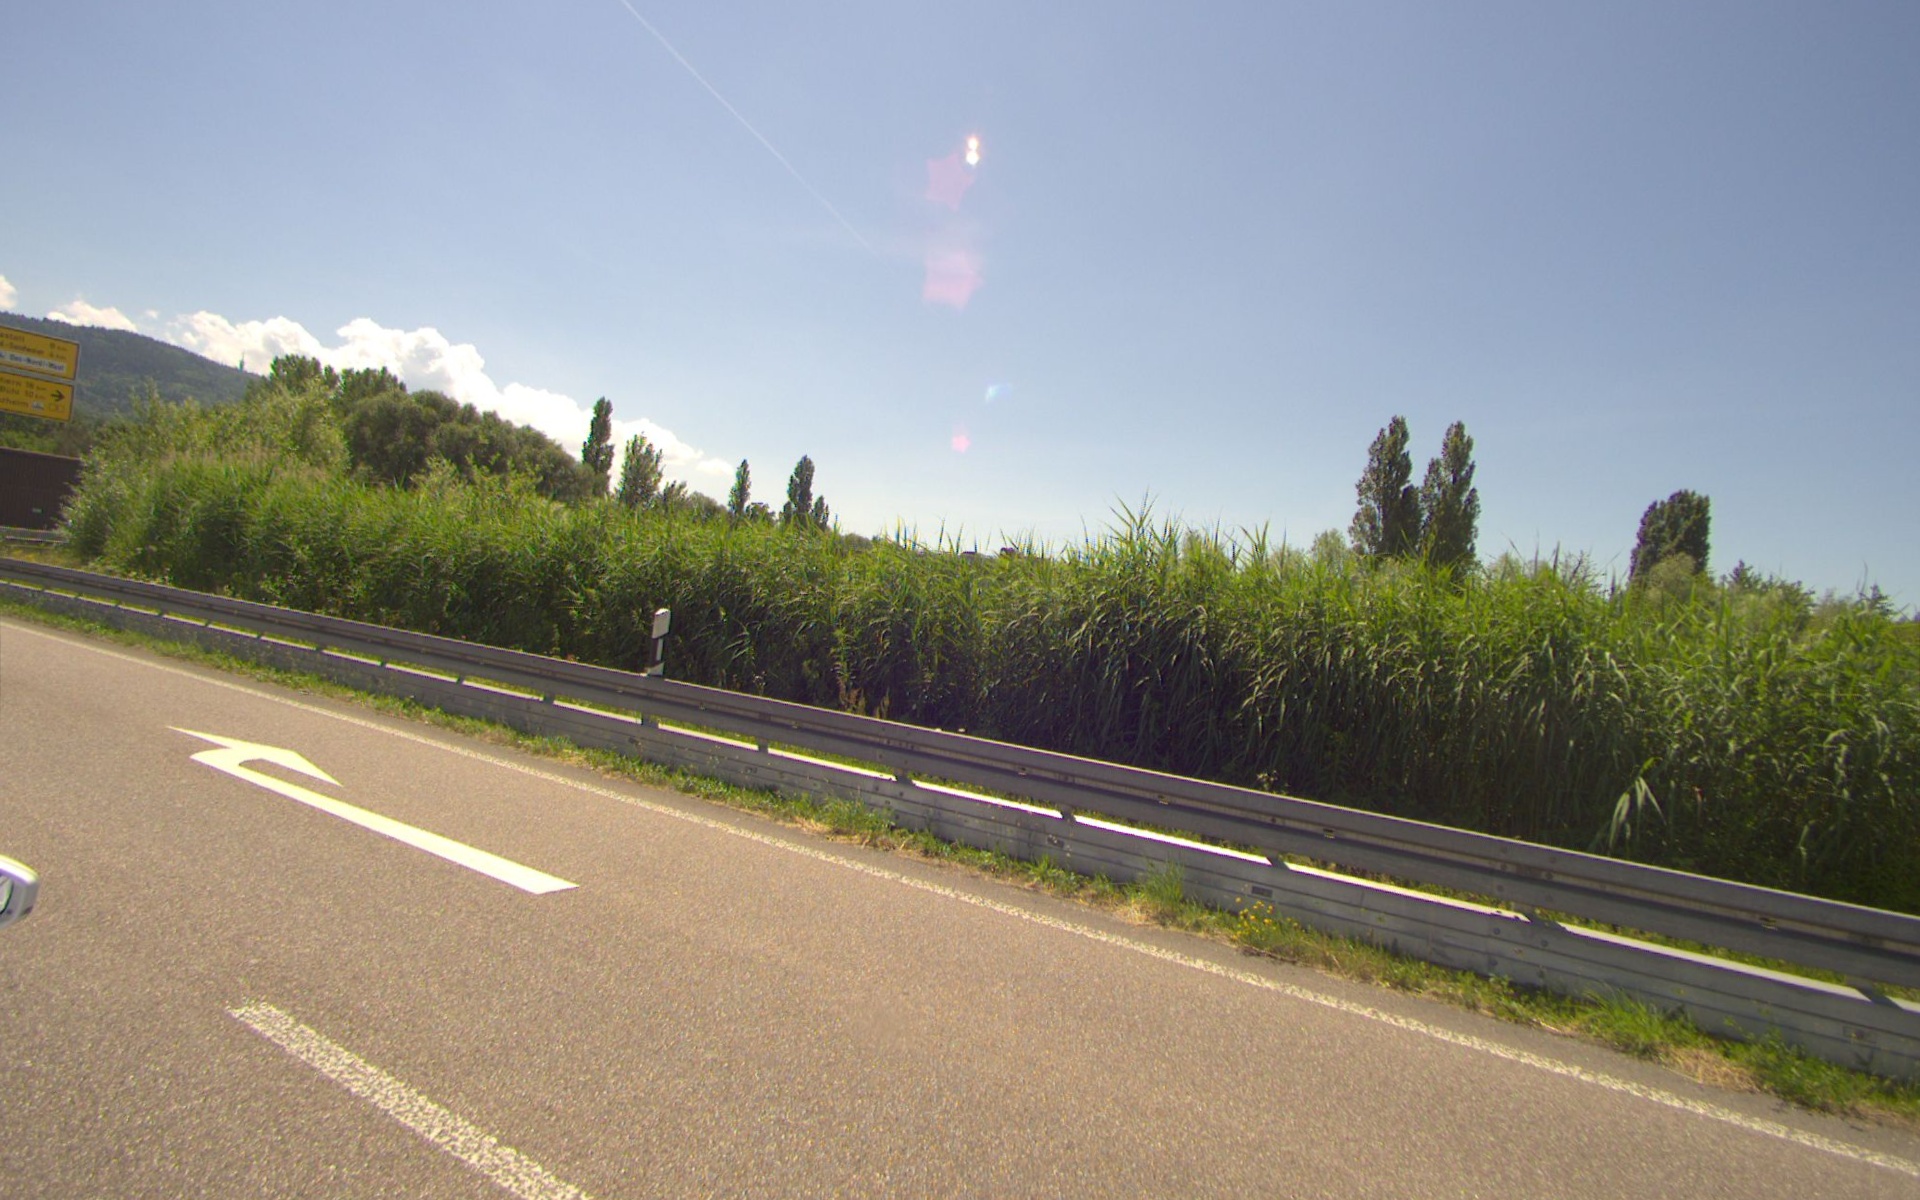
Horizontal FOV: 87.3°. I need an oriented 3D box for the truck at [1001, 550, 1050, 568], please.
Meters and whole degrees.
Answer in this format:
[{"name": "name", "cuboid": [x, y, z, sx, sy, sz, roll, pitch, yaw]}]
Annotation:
[{"name": "truck", "cuboid": [9.644, -6.066, 148.531, 6.806, 2.037, 2.347, 6, -1, 32]}]
